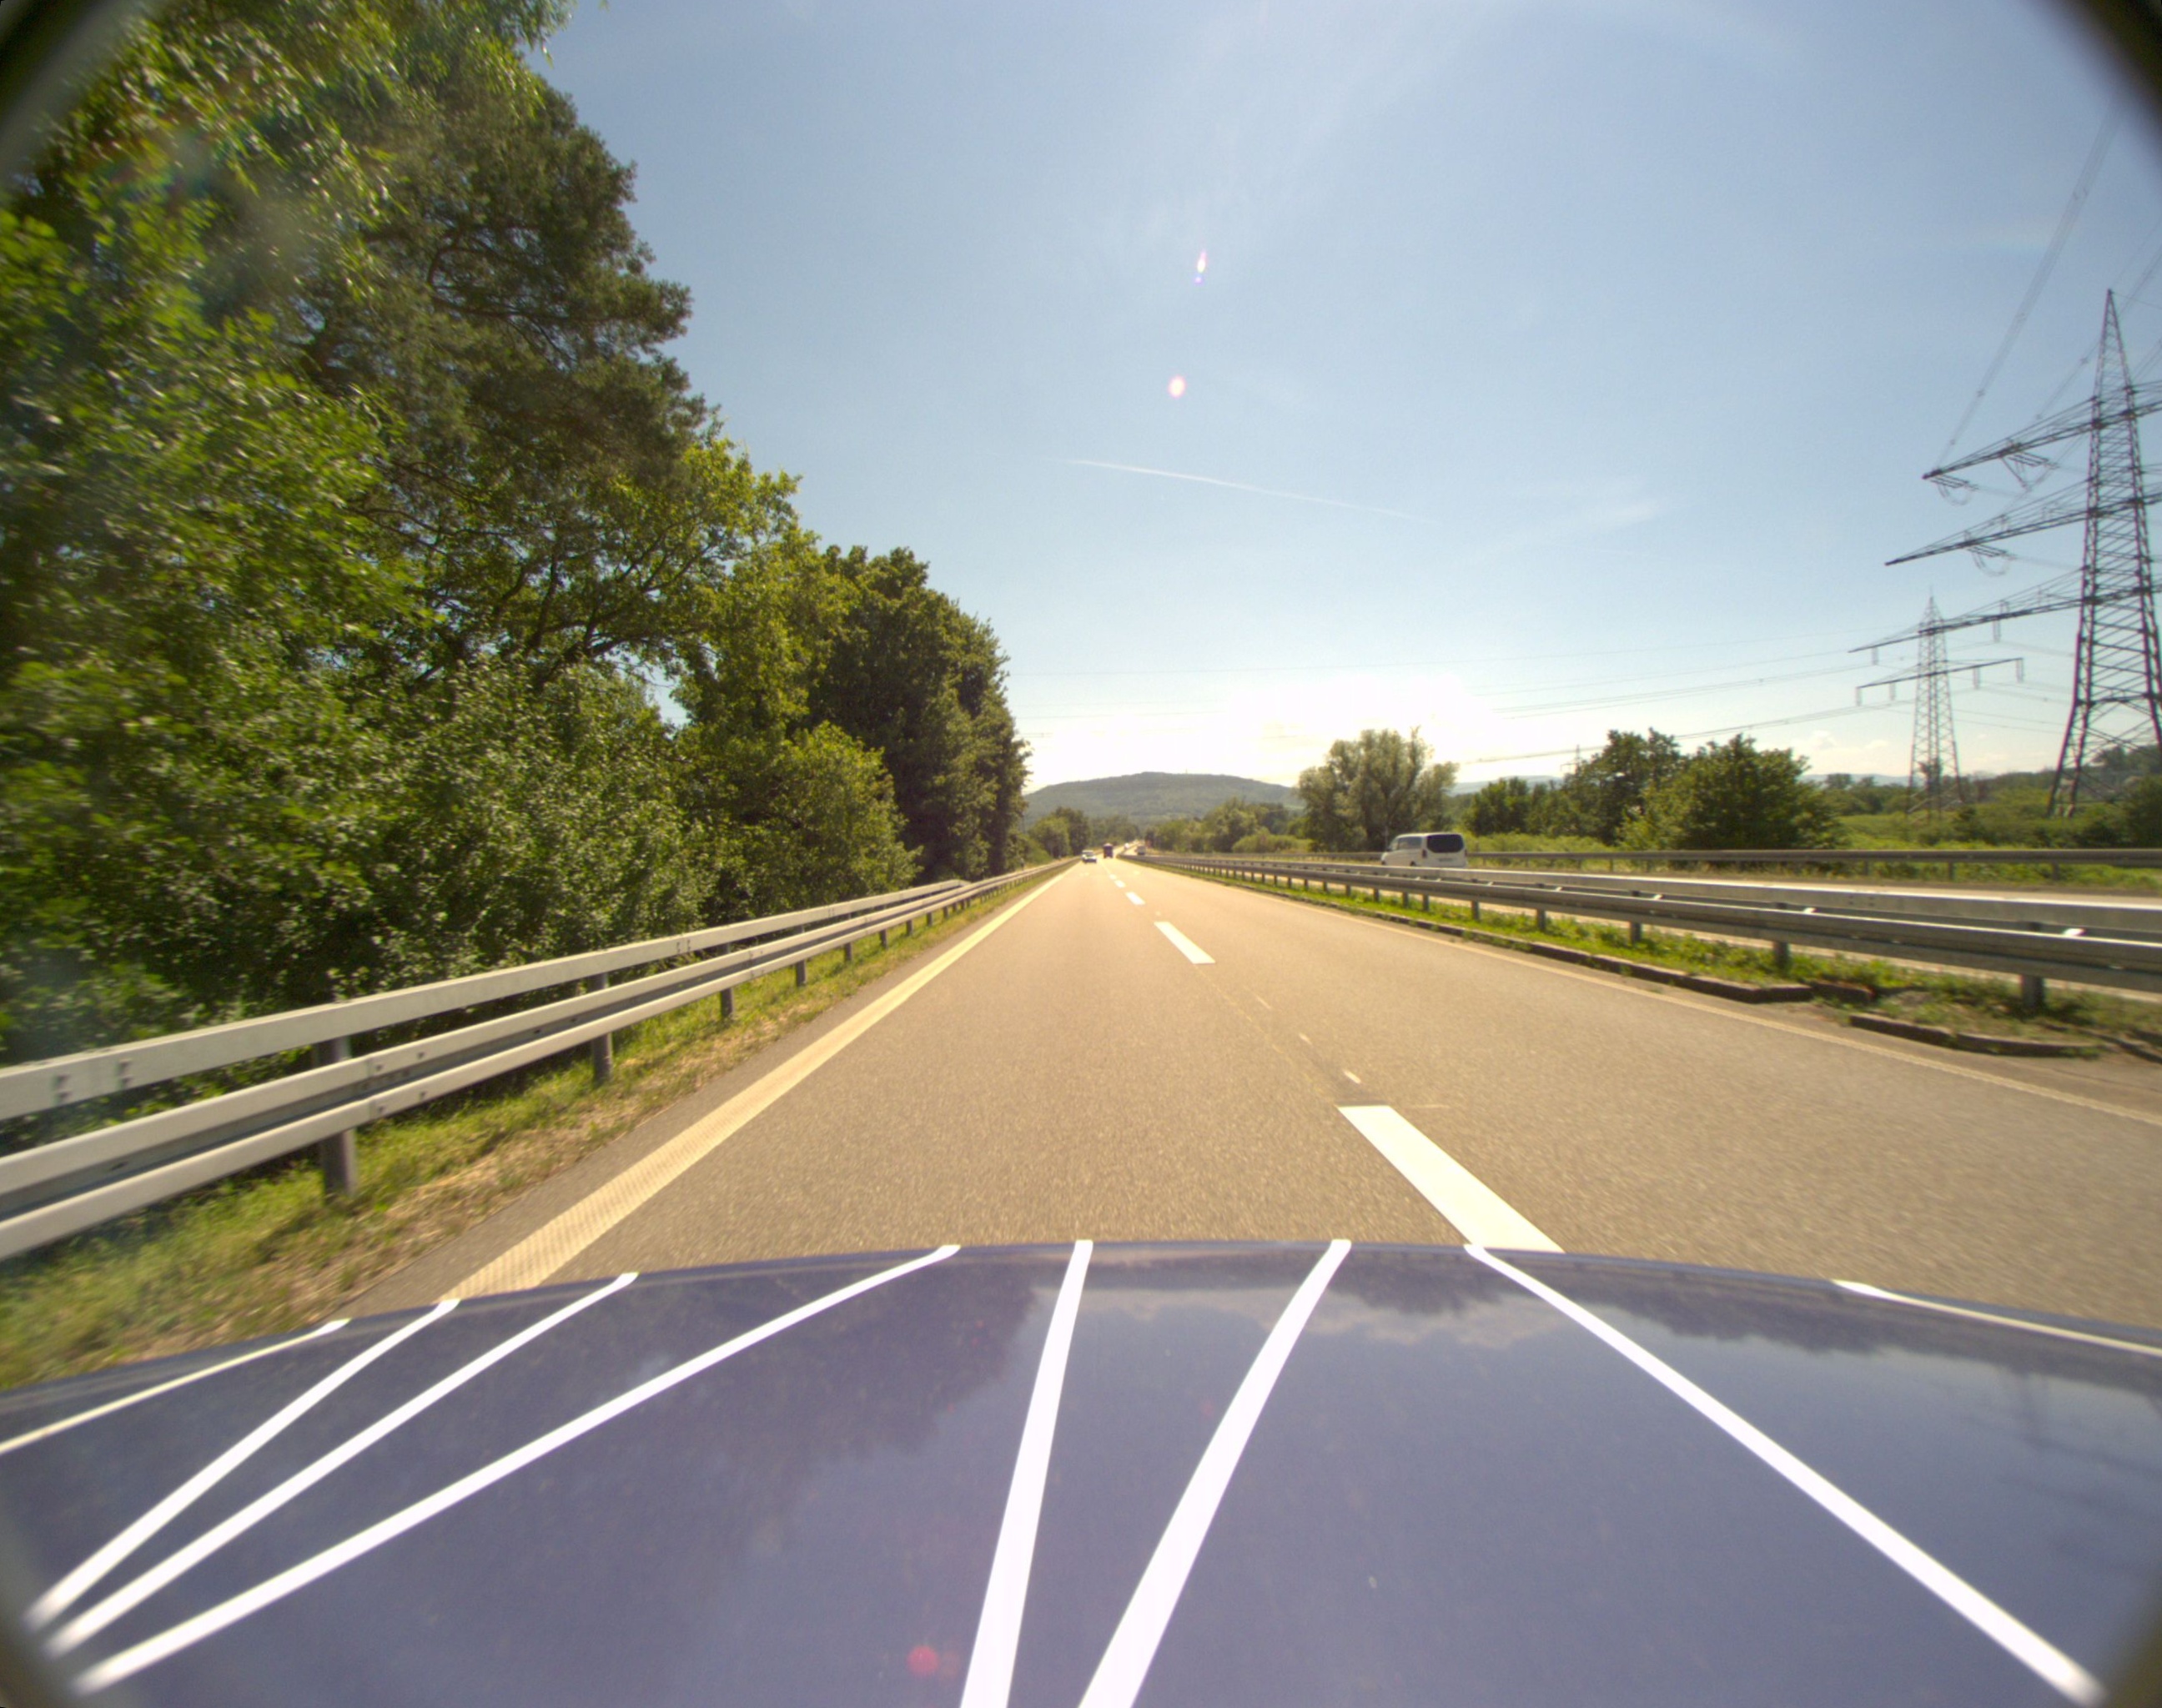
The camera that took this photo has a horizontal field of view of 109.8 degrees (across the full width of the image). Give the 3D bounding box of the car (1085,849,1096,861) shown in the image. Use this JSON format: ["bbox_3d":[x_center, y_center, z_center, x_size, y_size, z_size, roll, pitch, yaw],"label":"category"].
[{"bbox_3d":[1.657,0.156,129.540,1.619,2.086,3.486,-2,1,5],"label":"car"}]

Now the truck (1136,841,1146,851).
[{"bbox_3d":[19.691,-2.734,248.573,2.725,3.174,8.405,-2,0,1],"label":"truck"}]

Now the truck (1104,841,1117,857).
[{"bbox_3d":[7.889,-1.419,203.517,2.826,4.143,9.950,-2,1,5],"label":"truck"}]

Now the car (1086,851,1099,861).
[{"bbox_3d":[1.659,0.254,110.840,1.577,1.387,3.486,-2,1,5],"label":"car"}]

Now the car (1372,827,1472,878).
[{"bbox_3d":[14.676,-0.080,33.118,1.896,1.981,5.532,-1,1,0],"label":"car"}]
